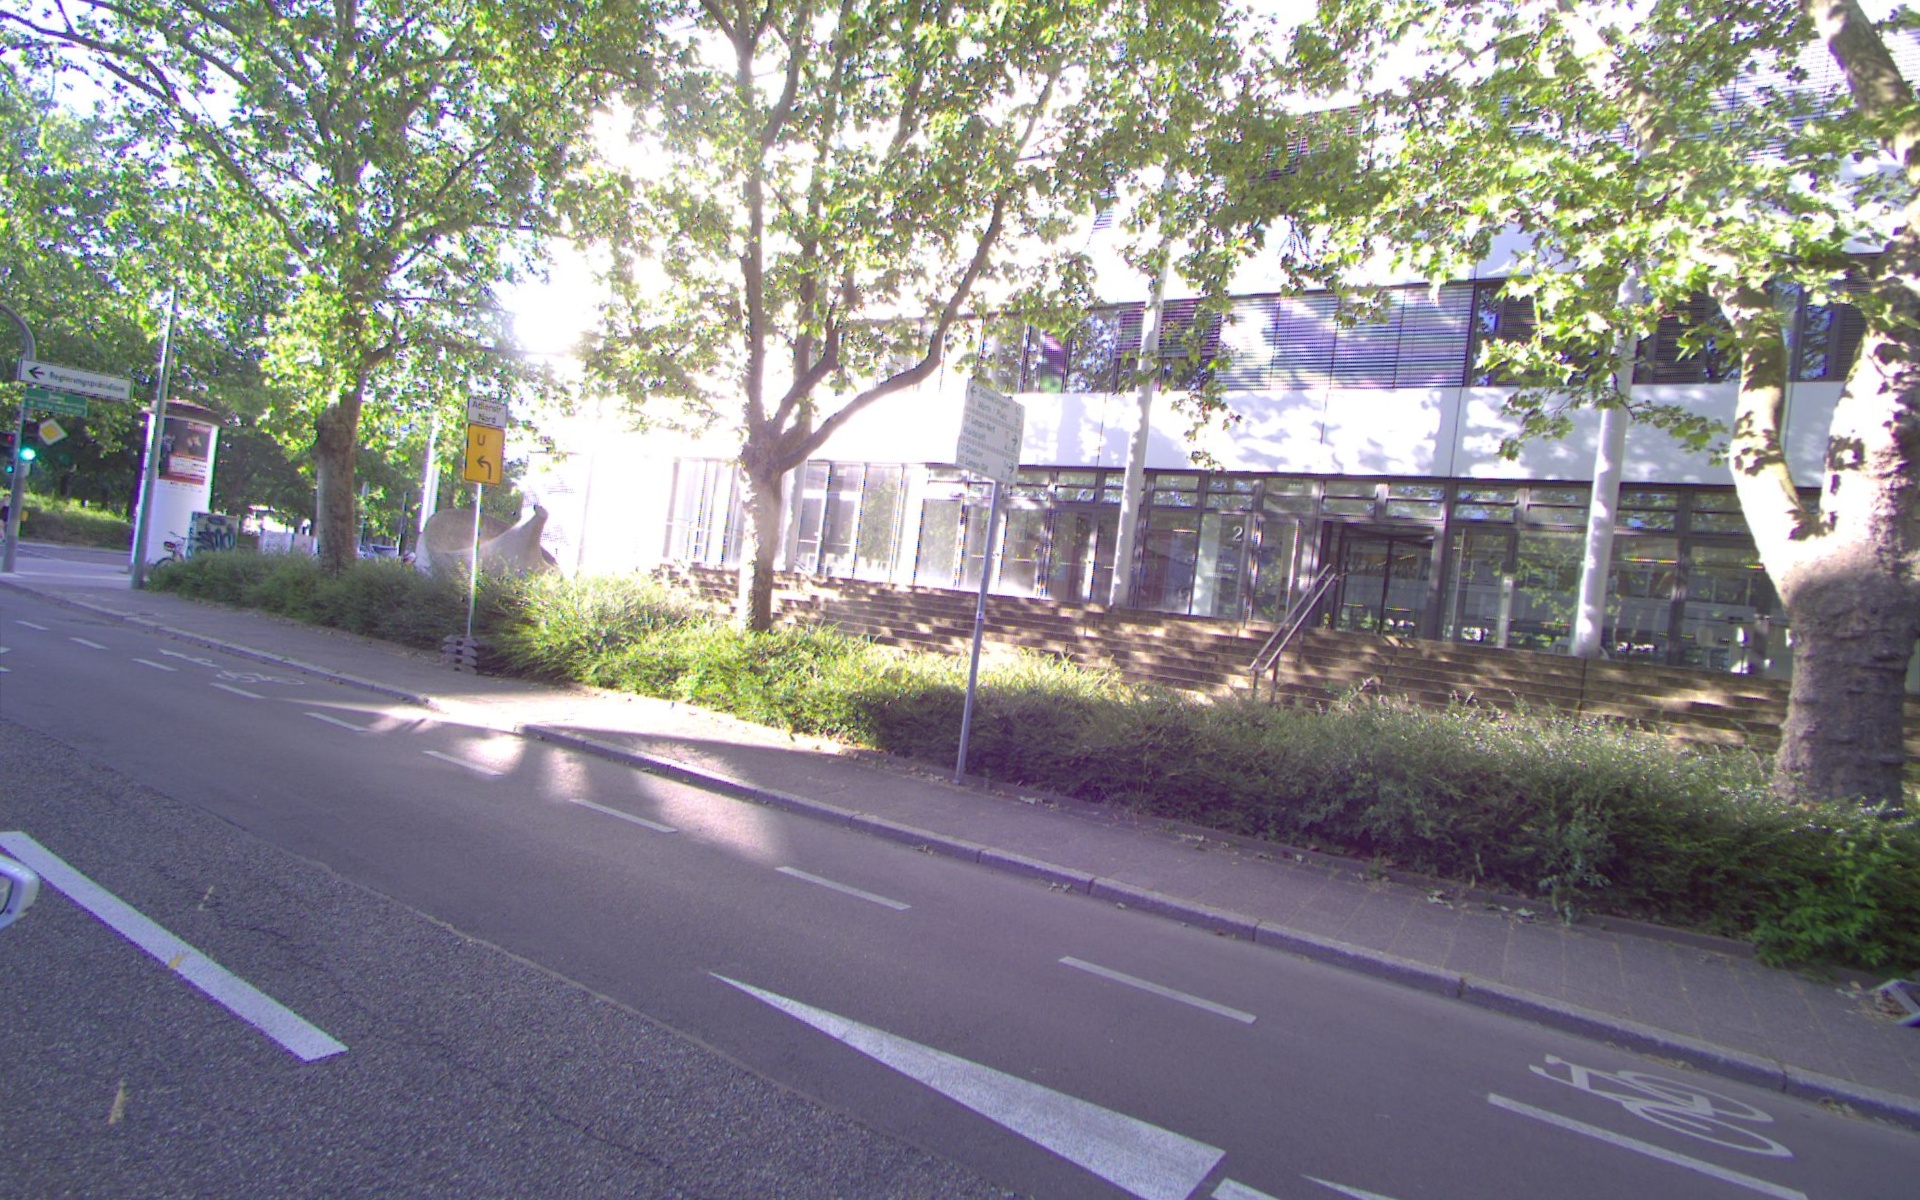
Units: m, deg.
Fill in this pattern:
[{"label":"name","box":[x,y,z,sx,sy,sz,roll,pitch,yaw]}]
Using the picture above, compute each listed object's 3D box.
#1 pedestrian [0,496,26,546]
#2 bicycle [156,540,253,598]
[{"label":"pedestrian","box":[-31.423,-2.617,32.986,0.893,1.563,0.638,7,-1,17]},{"label":"bicycle","box":[-15.908,-0.635,21.240,0.631,1.040,1.887,7,-2,-5]}]
